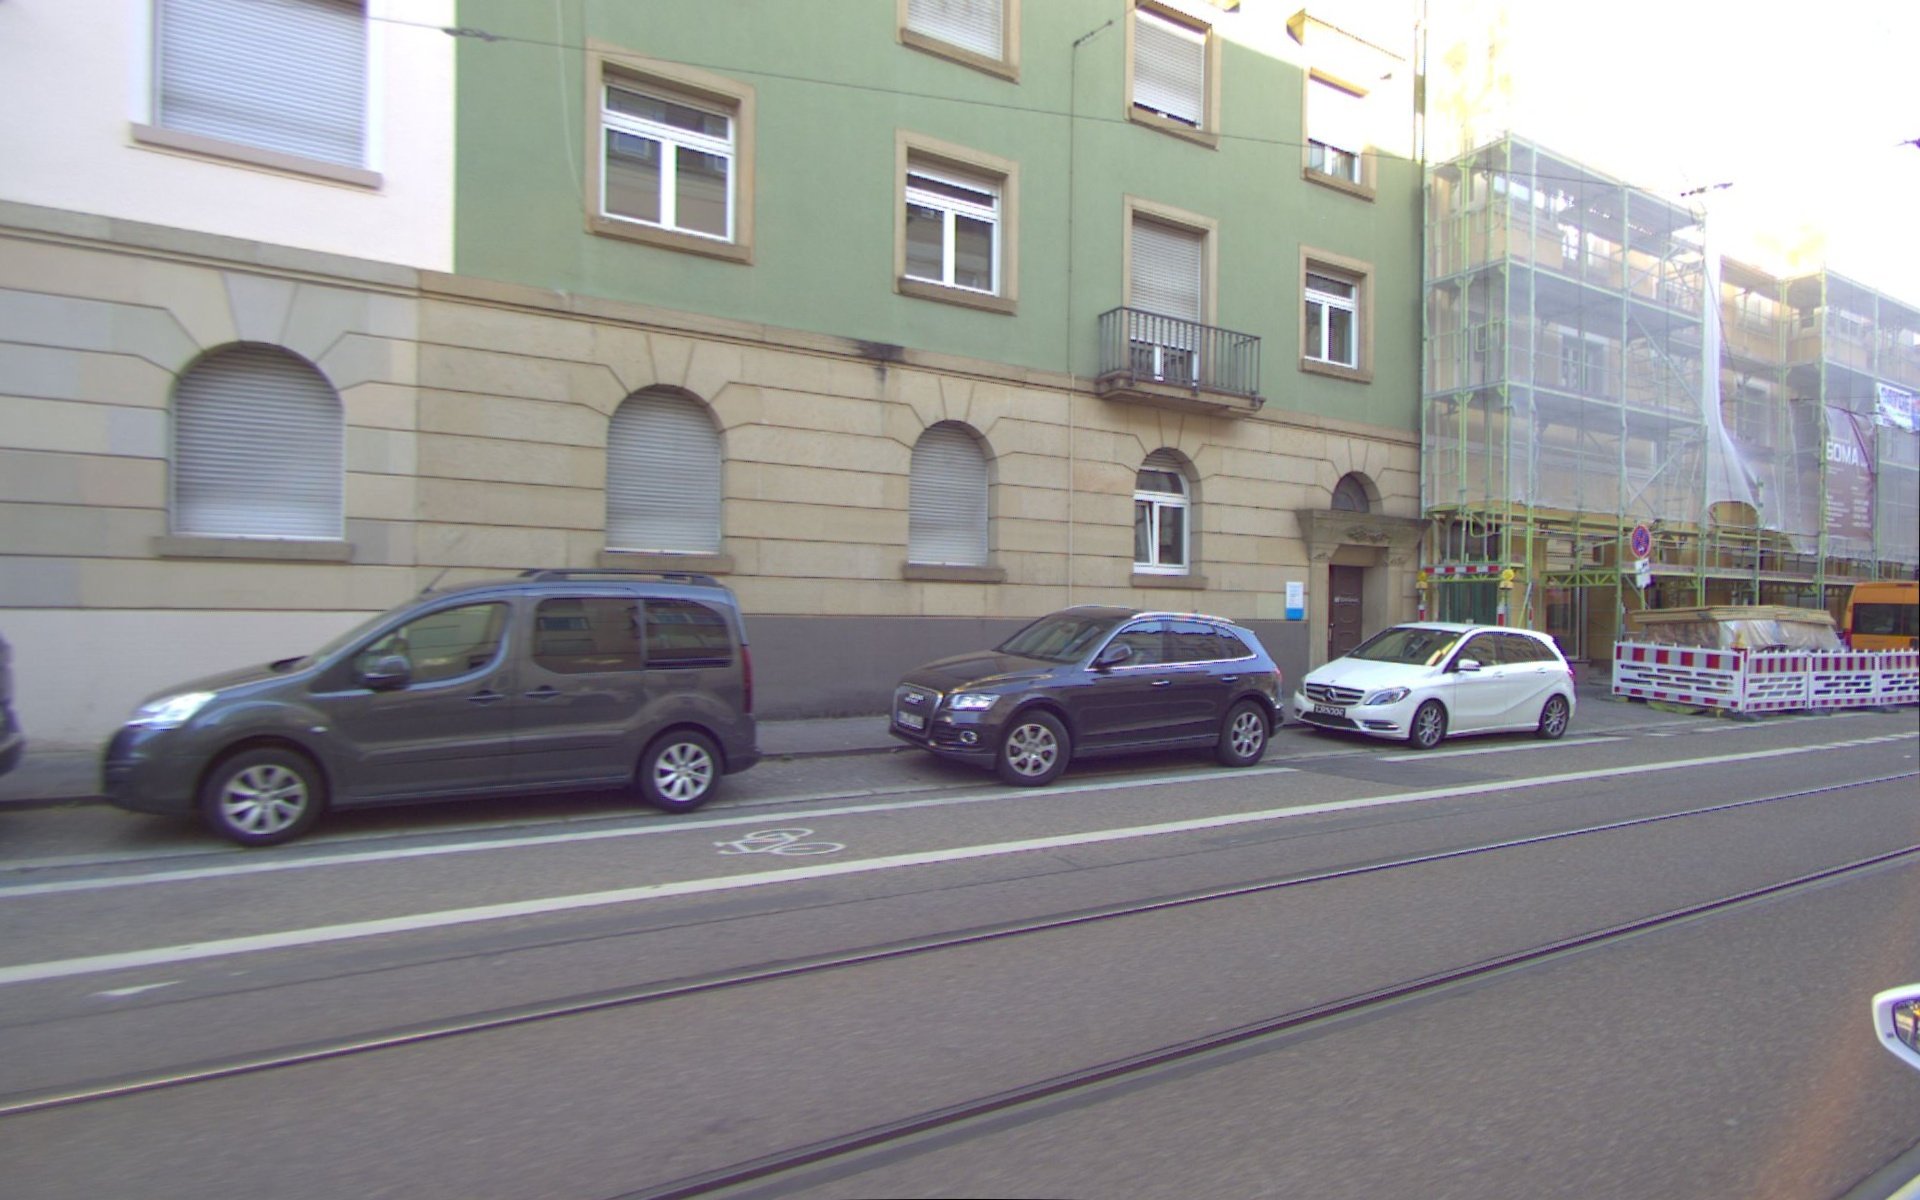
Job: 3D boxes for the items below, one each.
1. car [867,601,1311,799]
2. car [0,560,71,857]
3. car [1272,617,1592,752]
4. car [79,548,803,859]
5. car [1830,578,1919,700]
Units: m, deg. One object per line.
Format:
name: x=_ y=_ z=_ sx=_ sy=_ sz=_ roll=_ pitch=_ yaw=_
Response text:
car: x=1.465 y=0.901 z=10.621 sx=4.558 sy=1.648 sz=1.773 roll=1 pitch=2 yaw=-32
car: x=-7.915 y=0.574 z=5.258 sx=4.616 sy=1.713 sz=1.773 roll=1 pitch=2 yaw=-32
car: x=6.483 y=1.058 z=13.701 sx=4.334 sy=1.523 sz=1.710 roll=1 pitch=1 yaw=-29
car: x=-3.663 y=0.627 z=7.806 sx=4.473 sy=1.840 sz=1.775 roll=1 pitch=1 yaw=-29
car: x=21.649 y=0.839 z=22.359 sx=4.925 sy=2.508 sz=2.133 roll=1 pitch=0 yaw=-32
